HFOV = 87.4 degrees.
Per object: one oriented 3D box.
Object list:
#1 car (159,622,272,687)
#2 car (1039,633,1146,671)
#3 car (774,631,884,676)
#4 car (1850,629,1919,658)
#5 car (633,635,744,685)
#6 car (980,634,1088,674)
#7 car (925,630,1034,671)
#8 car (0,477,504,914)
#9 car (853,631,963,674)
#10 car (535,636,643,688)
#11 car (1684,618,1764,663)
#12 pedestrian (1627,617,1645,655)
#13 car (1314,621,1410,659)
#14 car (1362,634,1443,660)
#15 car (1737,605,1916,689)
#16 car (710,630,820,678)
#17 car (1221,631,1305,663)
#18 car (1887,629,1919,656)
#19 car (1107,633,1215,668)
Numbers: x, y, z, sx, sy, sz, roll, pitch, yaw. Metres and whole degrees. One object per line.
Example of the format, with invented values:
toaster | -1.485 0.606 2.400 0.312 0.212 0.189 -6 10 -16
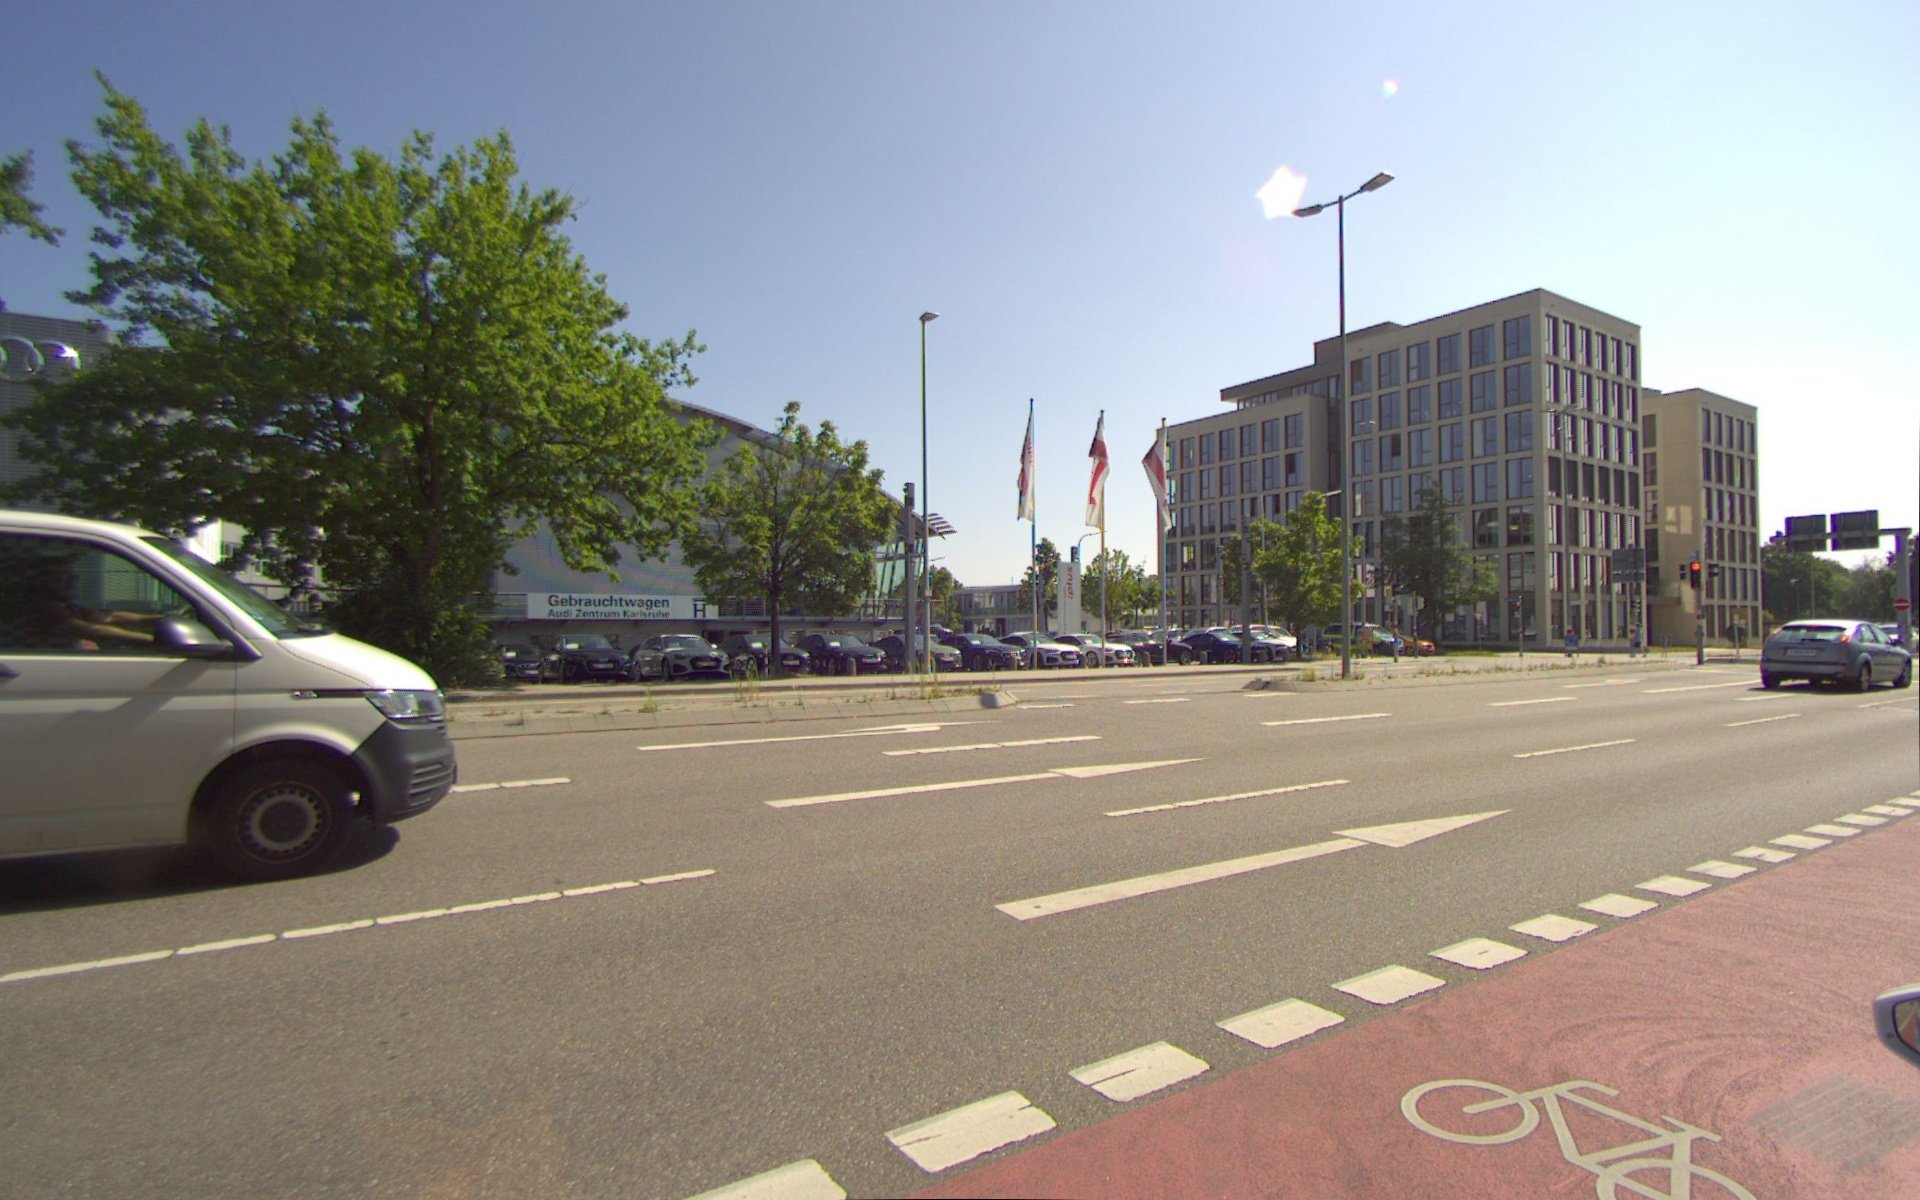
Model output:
car | -17.674 1.266 24.021 1.904 1.394 3.964 1 -2 -33
car | 5.064 1.987 38.865 1.980 1.361 3.963 1 -2 -34
car | -4.320 1.699 32.588 1.980 1.361 3.963 1 -2 -34
car | 48.558 2.267 52.559 3.952 1.483 1.808 1 -3 -30
car | -8.131 1.732 29.890 1.980 1.361 4.125 1 -2 -34
car | 2.673 1.978 37.169 1.980 1.361 3.963 1 -2 -34
car | 0.631 1.779 35.738 1.980 1.361 3.963 1 -2 -34
car | -5.191 0.469 5.283 4.918 2.020 1.872 0 -2 -32
car | -1.826 1.759 34.174 1.980 1.361 3.961 1 -2 -35
car | -10.472 1.685 28.224 1.980 1.328 3.963 1 -2 -34
car | 25.160 1.300 33.071 2.769 1.349 1.208 -1 1 -33
pedestrian | 36.950 1.946 54.883 0.745 2.041 0.932 0 1 31
car | 23.001 2.282 57.663 1.978 2.077 4.889 1 -2 -32
car | 25.989 2.737 59.111 1.978 1.483 3.966 1 -2 -32
car | 19.257 1.012 22.289 3.957 1.706 1.982 1 -2 -33
car | -6.108 1.642 31.147 1.980 1.361 3.963 1 -2 -34
car | 13.428 2.092 44.658 1.626 1.361 3.395 1 -2 -31
car | 54.361 2.364 56.717 3.952 1.483 1.808 1 -3 -30
car | 8.326 2.062 41.613 4.388 1.361 1.696 1 -2 -31
